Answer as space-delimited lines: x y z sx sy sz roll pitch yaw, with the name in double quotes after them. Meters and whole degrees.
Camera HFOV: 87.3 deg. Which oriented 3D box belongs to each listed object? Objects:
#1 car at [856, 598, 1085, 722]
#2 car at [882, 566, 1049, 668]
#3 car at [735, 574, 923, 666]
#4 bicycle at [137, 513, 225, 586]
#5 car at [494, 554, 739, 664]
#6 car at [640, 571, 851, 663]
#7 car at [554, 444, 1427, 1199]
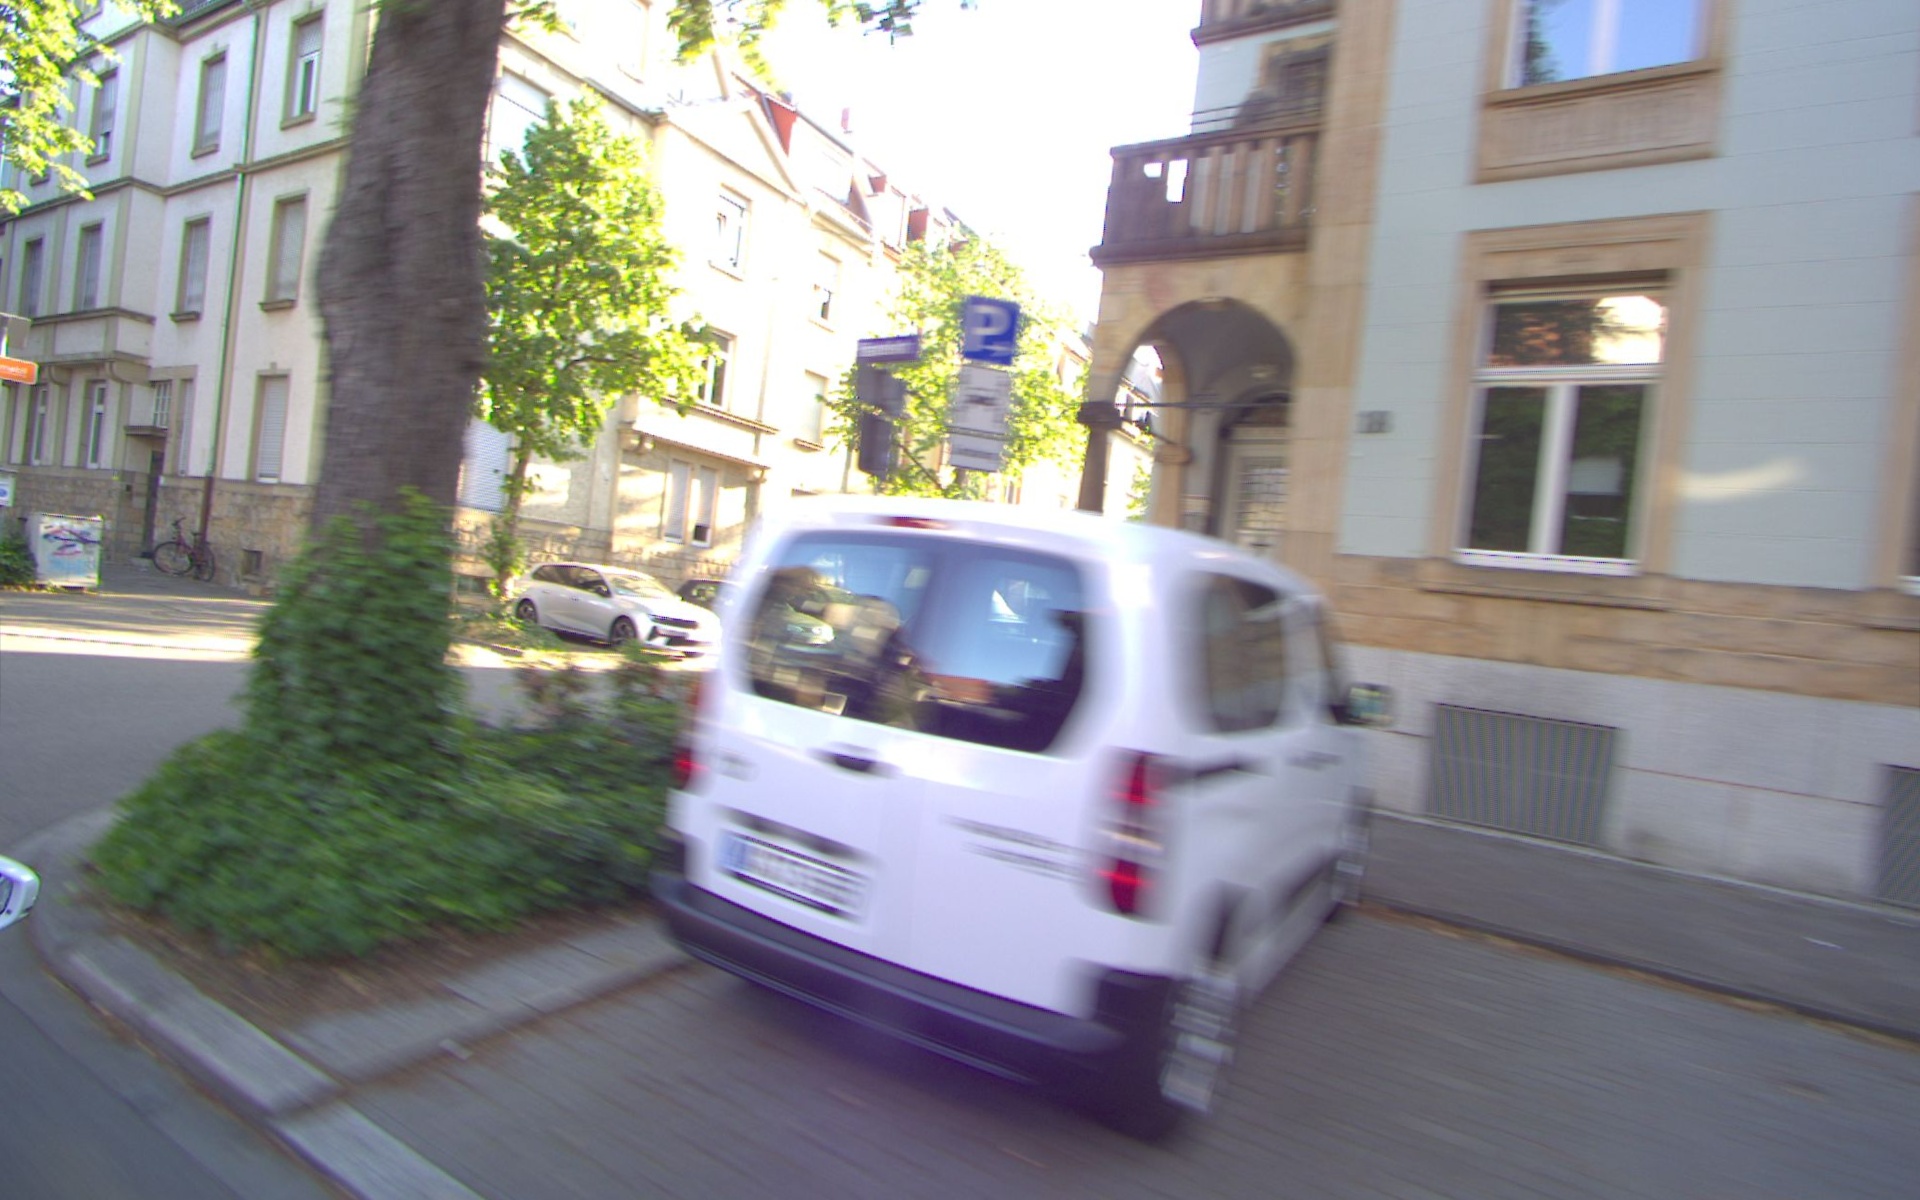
0.320 0.962 15.969 1.628 1.494 4.162 9 1 31 "car"
0.120 0.488 30.043 4.447 2.450 1.873 7 1 33 "car"
-3.192 0.464 24.225 4.214 1.628 1.725 7 1 32 "car"
-15.470 -1.008 19.958 1.924 1.227 0.585 7 0 29 "bicycle"
-6.370 0.136 18.509 4.394 1.426 1.785 7 0 32 "car"
-4.818 0.358 22.399 4.454 1.426 1.846 7 0 32 "car"
0.705 0.611 4.577 1.967 1.830 4.317 7 1 31 "car"
